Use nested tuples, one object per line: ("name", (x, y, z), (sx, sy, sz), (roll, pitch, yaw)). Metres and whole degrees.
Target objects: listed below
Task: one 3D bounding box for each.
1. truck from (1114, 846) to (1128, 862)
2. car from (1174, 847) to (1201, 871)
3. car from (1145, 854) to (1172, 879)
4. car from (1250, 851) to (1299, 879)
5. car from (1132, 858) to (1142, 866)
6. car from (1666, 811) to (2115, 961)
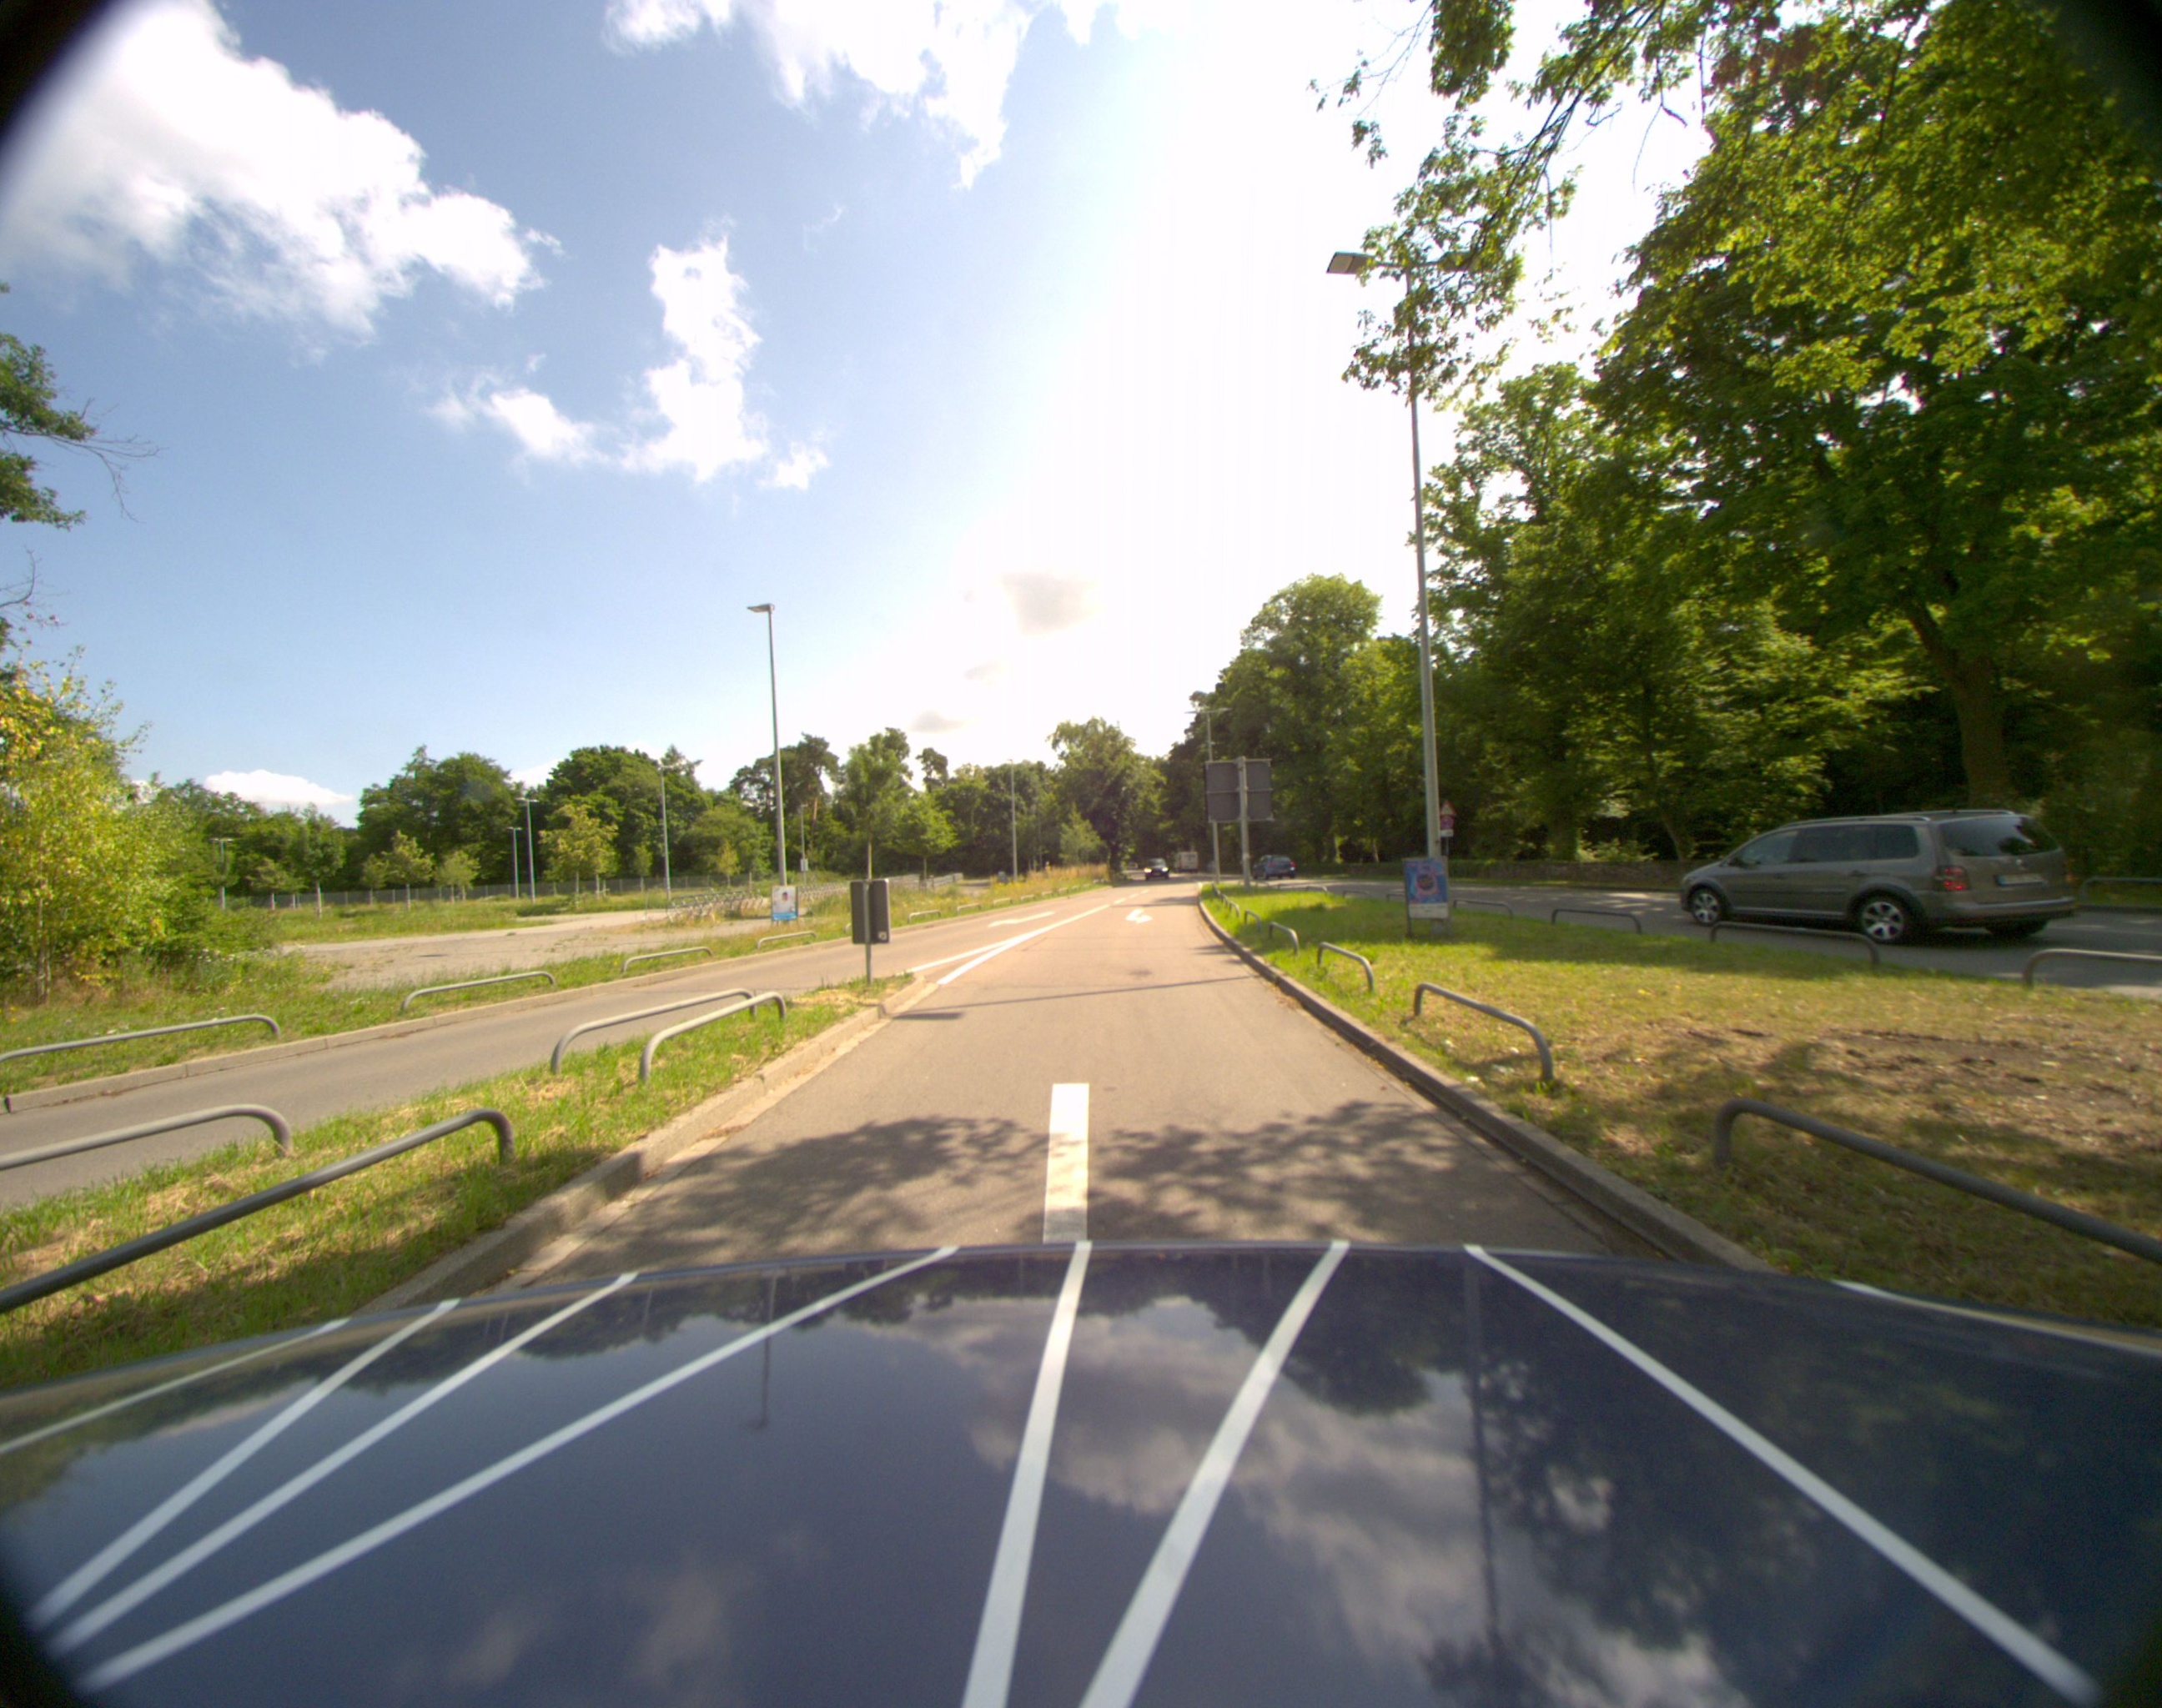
("truck", (9.602, -0.041, 181.387), (2.914, 3.609, 7.004), (-2, 1, 1))
("car", (11.763, 0.479, 84.211), (1.980, 2.417, 5.361), (-4, 1, -2))
("car", (6.296, 0.984, 62.379), (1.979, 1.754, 4.708), (-3, 1, 4))
("car", (11.455, 0.620, 45.300), (1.699, 1.438, 4.065), (-4, 1, -2))
("car", (10.829, 1.481, 148.362), (1.655, 1.461, 3.871), (-2, 1, 1))
("car", (11.053, 0.392, 10.967), (1.765, 1.620, 4.299), (-4, -1, -1))
